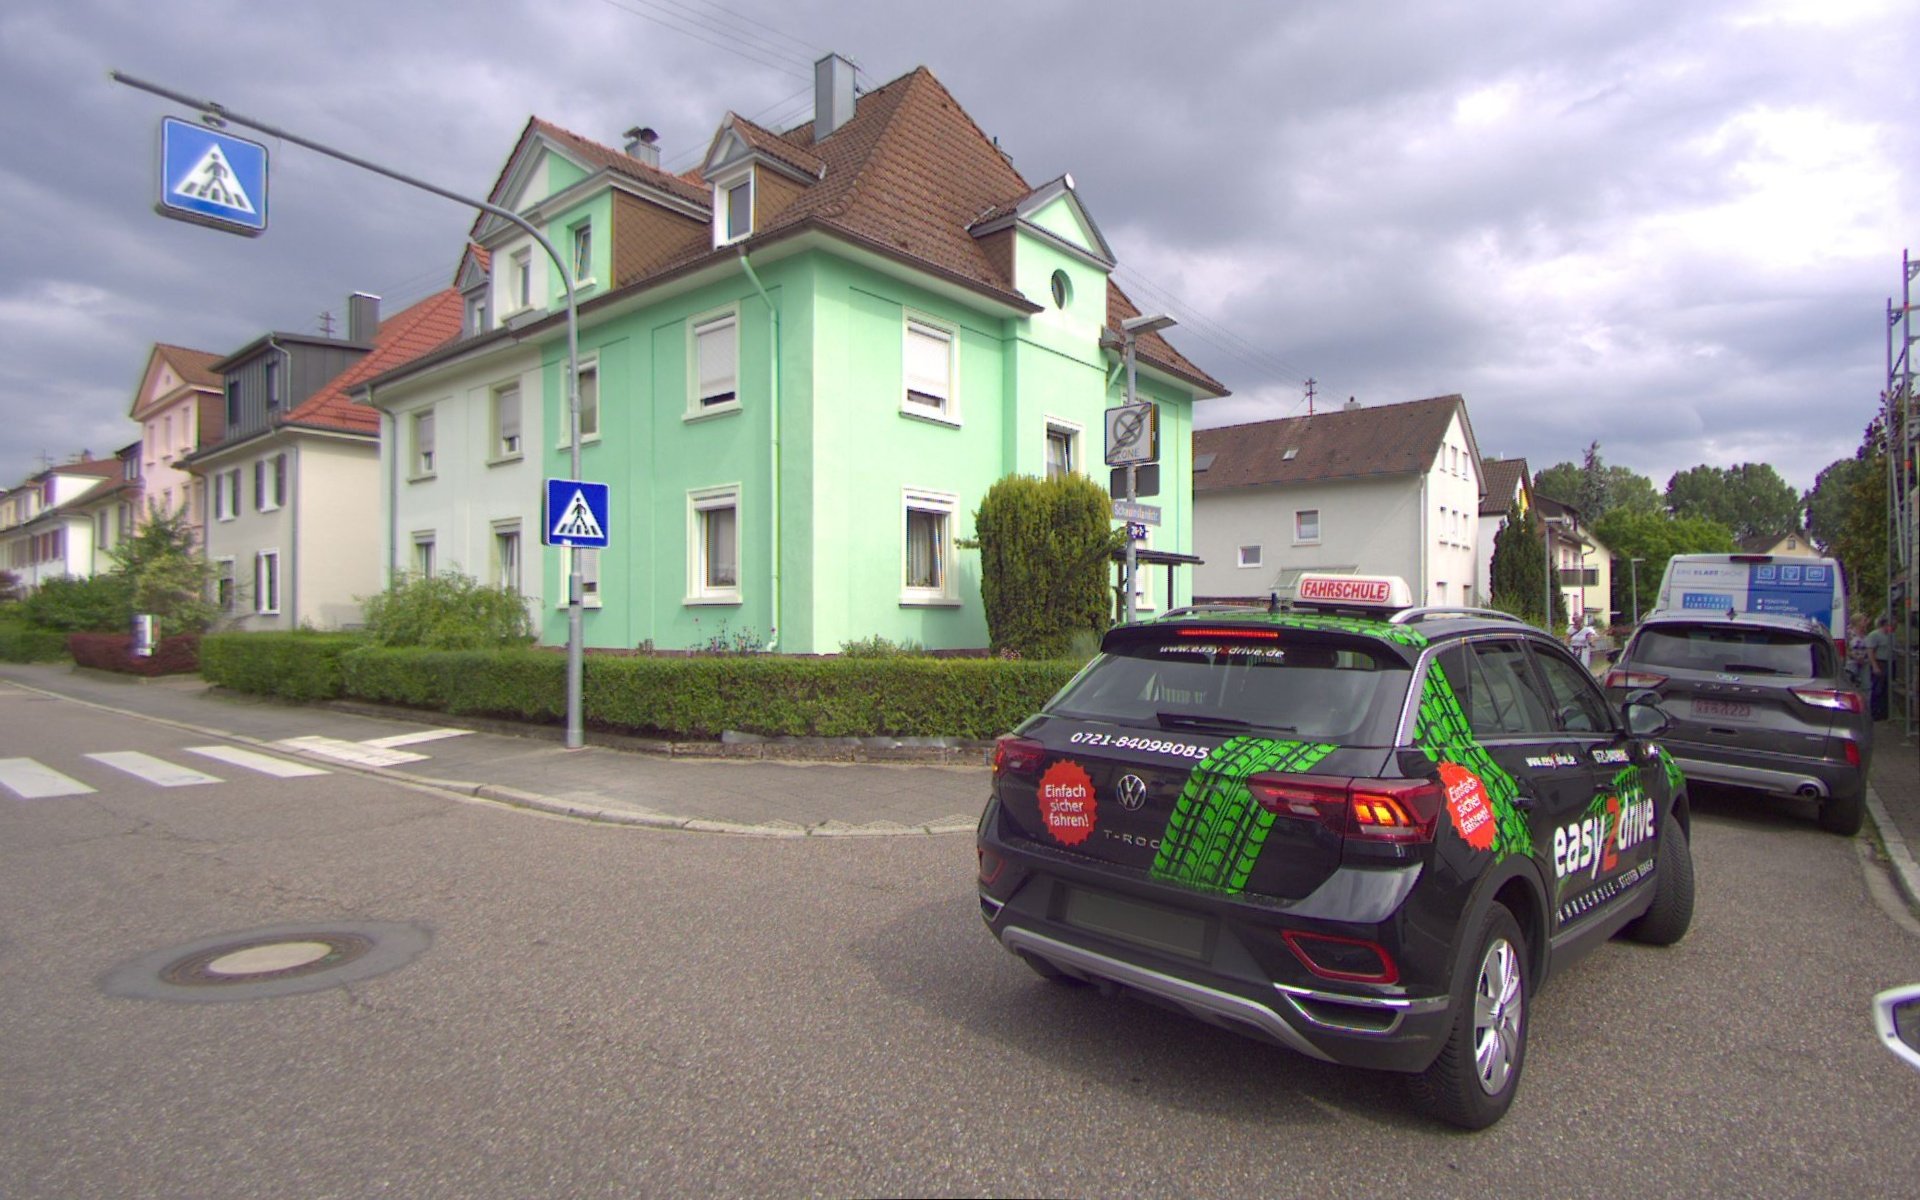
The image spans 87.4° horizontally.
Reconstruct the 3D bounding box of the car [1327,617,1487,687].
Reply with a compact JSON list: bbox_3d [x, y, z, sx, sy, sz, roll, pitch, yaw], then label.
[{"bbox_3d":[11.496,1.311,25.887,3.525,1.689,1.582,-1,-2,36],"label":"car"}]

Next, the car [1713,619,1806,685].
[{"bbox_3d":[23.229,1.436,29.311,1.968,1.772,4.325,-1,-1,37],"label":"car"}]

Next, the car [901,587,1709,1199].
[{"bbox_3d":[1.837,0.811,4.394,1.797,1.540,4.018,0,-2,44],"label":"car"}]

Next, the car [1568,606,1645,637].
[{"bbox_3d":[40.116,1.352,62.361,3.935,1.795,1.864,-1,-3,36],"label":"car"}]

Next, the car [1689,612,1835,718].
[{"bbox_3d":[15.253,1.146,19.274,1.968,1.795,4.325,-1,-1,37],"label":"car"}]

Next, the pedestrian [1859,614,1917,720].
[{"bbox_3d":[14.906,1.070,16.134,0.620,1.650,0.596,2,-3,-39],"label":"pedestrian"}]

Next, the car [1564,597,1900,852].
[{"bbox_3d":[6.948,0.903,9.219,1.968,1.749,4.325,-1,-1,37],"label":"car"}]

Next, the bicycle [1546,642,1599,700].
[{"bbox_3d":[13.114,1.494,21.483,0.697,1.167,1.864,-2,-2,39],"label":"bicycle"}]

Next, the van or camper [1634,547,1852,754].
[{"bbox_3d":[11.479,0.665,14.774,2.165,2.491,5.032,-1,-1,39],"label":"van or camper"}]

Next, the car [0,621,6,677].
[{"bbox_3d":[-29.724,1.429,29.547,3.940,1.595,1.991,-1,-2,40],"label":"car"}]

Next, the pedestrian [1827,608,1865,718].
[{"bbox_3d":[14.749,1.043,16.721,0.402,1.785,0.511,-1,-3,36],"label":"pedestrian"}]

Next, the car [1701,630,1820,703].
[{"bbox_3d":[18.388,1.450,23.215,1.968,1.475,4.325,-1,-1,37],"label":"car"}]

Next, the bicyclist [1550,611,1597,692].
[{"bbox_3d":[13.194,1.104,21.592,0.688,1.688,0.971,-2,-3,40],"label":"bicyclist"}]

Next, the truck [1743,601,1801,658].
[{"bbox_3d":[40.820,1.461,50.572,2.103,2.692,4.566,-1,-1,37],"label":"truck"}]

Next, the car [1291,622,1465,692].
[{"bbox_3d":[9.789,1.296,23.620,3.525,1.520,1.582,-1,-2,36],"label":"car"}]
